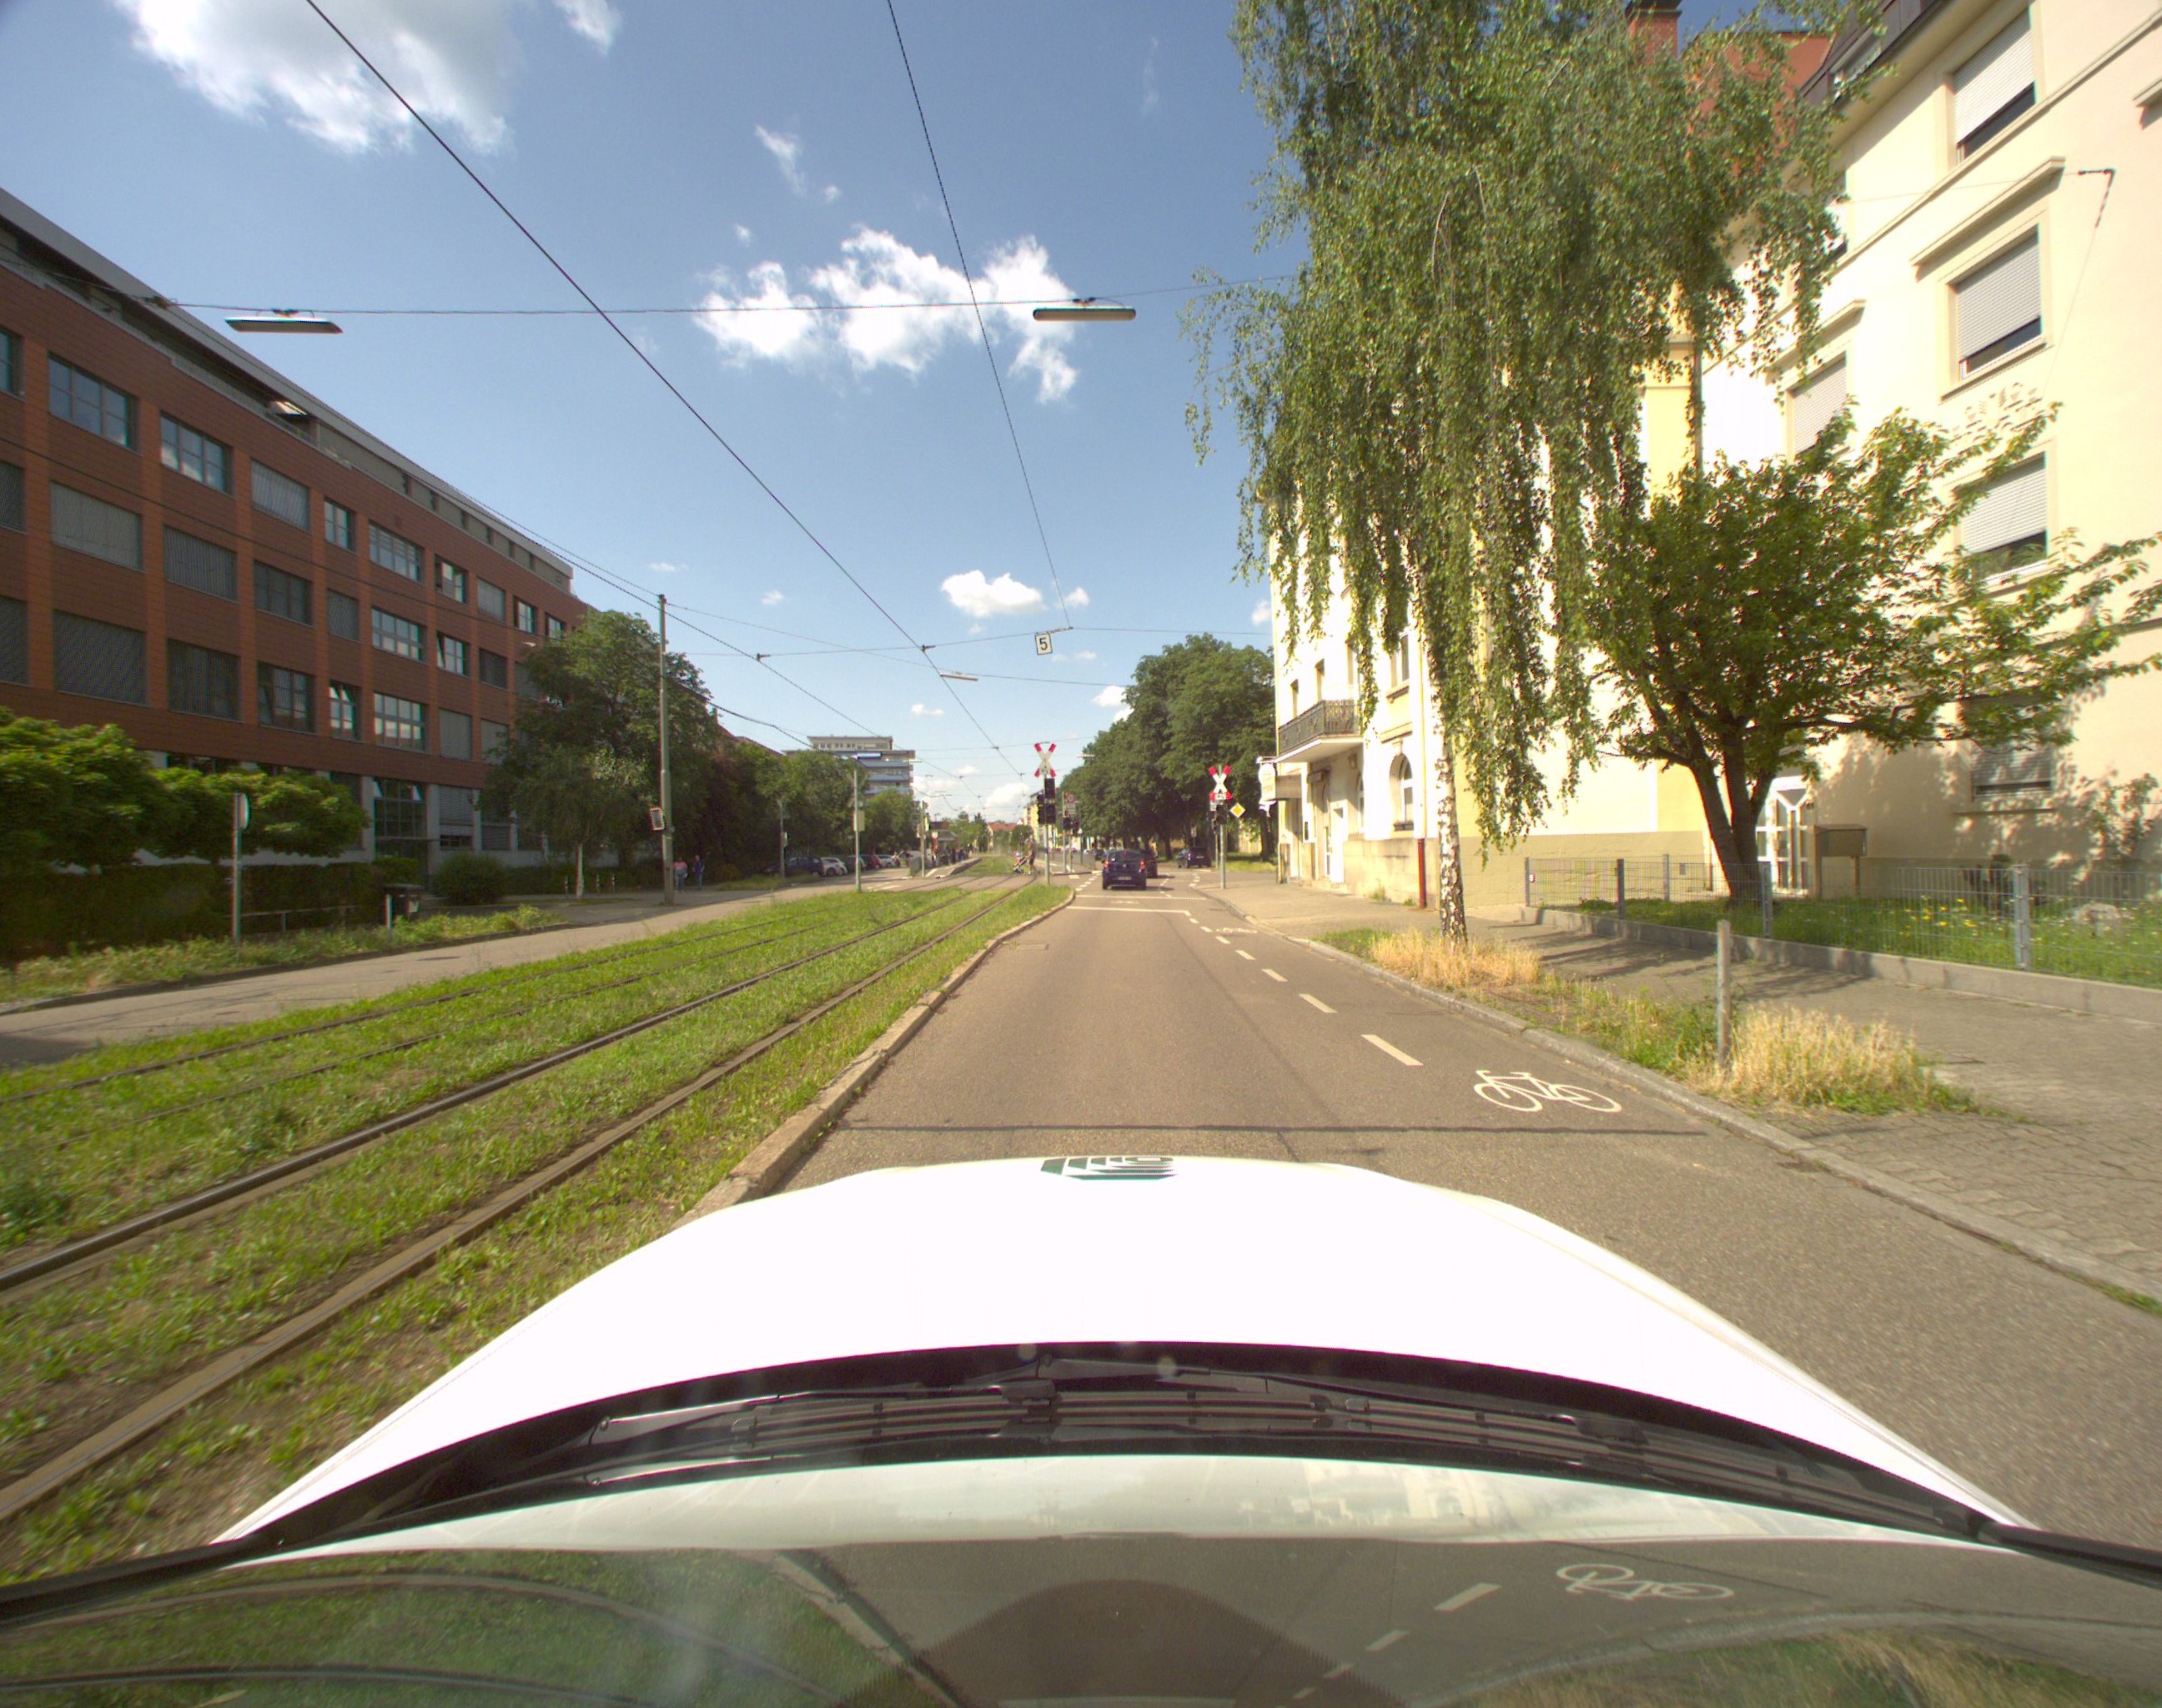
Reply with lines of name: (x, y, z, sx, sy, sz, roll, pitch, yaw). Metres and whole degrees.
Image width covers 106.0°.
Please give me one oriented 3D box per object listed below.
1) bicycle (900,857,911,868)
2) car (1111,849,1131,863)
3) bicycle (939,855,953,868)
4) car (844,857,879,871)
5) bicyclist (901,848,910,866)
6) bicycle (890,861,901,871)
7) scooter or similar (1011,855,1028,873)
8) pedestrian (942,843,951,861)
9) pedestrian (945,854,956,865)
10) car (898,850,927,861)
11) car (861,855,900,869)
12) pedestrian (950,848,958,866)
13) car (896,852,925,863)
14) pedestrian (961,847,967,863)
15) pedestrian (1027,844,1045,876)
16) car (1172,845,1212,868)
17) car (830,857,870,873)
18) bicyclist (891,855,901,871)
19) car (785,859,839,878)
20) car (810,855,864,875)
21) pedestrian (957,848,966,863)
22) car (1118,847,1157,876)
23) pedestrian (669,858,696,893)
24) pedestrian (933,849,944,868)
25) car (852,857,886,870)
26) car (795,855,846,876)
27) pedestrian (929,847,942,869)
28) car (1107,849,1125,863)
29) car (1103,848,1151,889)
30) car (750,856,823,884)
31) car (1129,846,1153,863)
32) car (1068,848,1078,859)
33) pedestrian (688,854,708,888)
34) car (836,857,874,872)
bicycle: (-19.468, 0.976, 90.277, 1.155, 1.177, 1.780, -3, 0, -12)
car: (4.281, 0.199, 87.978, 1.855, 1.445, 4.000, -3, 0, 0)
bicycle: (-11.289, 0.651, 68.299, 0.683, 0.974, 1.773, -4, 0, 5)
car: (-22.462, 1.013, 83.404, 1.437, 1.309, 3.267, -1, 0, 39)
bicyclist: (-19.469, 0.305, 90.243, 0.948, 2.013, 1.569, -1, 0, -13)
bicycle: (-18.843, 1.206, 82.824, 0.679, 0.971, 2.177, -2, 0, -1)
scooter or similar: (-3.599, 0.579, 47.420, 0.953, 1.065, 0.795, -1, 0, -6)
pedestrian: (-12.418, -0.178, 75.247, 0.654, 1.692, 0.655, -2, 0, -5)
pedestrian: (-12.212, 0.546, 76.317, 0.923, 0.989, 0.796, -3, -1, -4)
car: (-25.619, 0.232, 123.714, 4.021, 1.447, 1.708, -2, 1, -40)
car: (-22.976, 0.893, 93.443, 1.694, 1.367, 4.024, -2, 0, 44)
pedestrian: (-12.524, 0.284, 80.248, 0.601, 1.766, 0.639, -1, 0, 4)
car: (-24.798, 0.494, 118.522, 1.618, 1.385, 4.025, -1, 0, 39)
pedestrian: (-14.945, 0.086, 104.340, 0.661, 2.013, 0.801, -1, 0, -11)
pedestrian: (-2.644, 0.353, 47.808, 0.869, 1.775, 1.001, -3, 0, -6)
car: (7.494, 0.137, 55.276, 1.763, 1.433, 3.896, -2, 0, -6)
car: (-21.153, 0.986, 74.657, 1.437, 1.309, 3.268, -1, 0, 36)
bicyclist: (-18.813, 0.890, 82.727, 0.783, 1.582, 0.863, -2, 0, -2)
car: (-19.709, 1.061, 59.749, 3.409, 1.236, 1.525, -2, 0, -45)
car: (-20.455, 0.921, 68.421, 1.669, 1.456, 4.024, -2, 0, 44)
pedestrian: (-11.900, 0.135, 81.068, 0.648, 1.426, 0.566, -2, 0, 32)
car: (2.835, 0.360, 41.443, 1.694, 1.368, 3.514, 0, 0, 0)
pedestrian: (-18.304, 0.995, 37.392, 0.742, 1.574, 0.890, -2, -1, 3)
pedestrian: (-11.995, 0.386, 68.639, 0.661, 1.569, 0.686, -3, 0, 2)
car: (-22.655, 0.993, 86.971, 1.437, 1.309, 3.267, -1, 0, 39)
car: (-20.127, 0.901, 62.879, 3.408, 1.505, 1.525, -2, 0, -43)
pedestrian: (-11.374, 0.319, 63.501, 0.705, 1.726, 0.672, -1, 0, 37)
car: (3.920, 0.256, 92.554, 1.845, 1.515, 4.000, -2, 0, 0)
car: (1.766, 0.532, 32.036, 1.761, 1.462, 3.777, -1, 0, 2)
car: (-19.427, 1.039, 53.849, 4.157, 1.640, 1.704, -2, 0, -45)
car: (5.627, 0.049, 76.482, 1.855, 1.445, 4.000, -4, 0, 0)
car: (-1.412, -0.125, 143.891, 1.663, 1.772, 3.998, -1, 0, -1)
pedestrian: (-18.675, 0.826, 39.701, 0.554, 1.657, 0.747, -2, 0, 3)
car: (-21.430, 0.985, 77.338, 1.437, 1.309, 3.267, -1, 0, 39)
